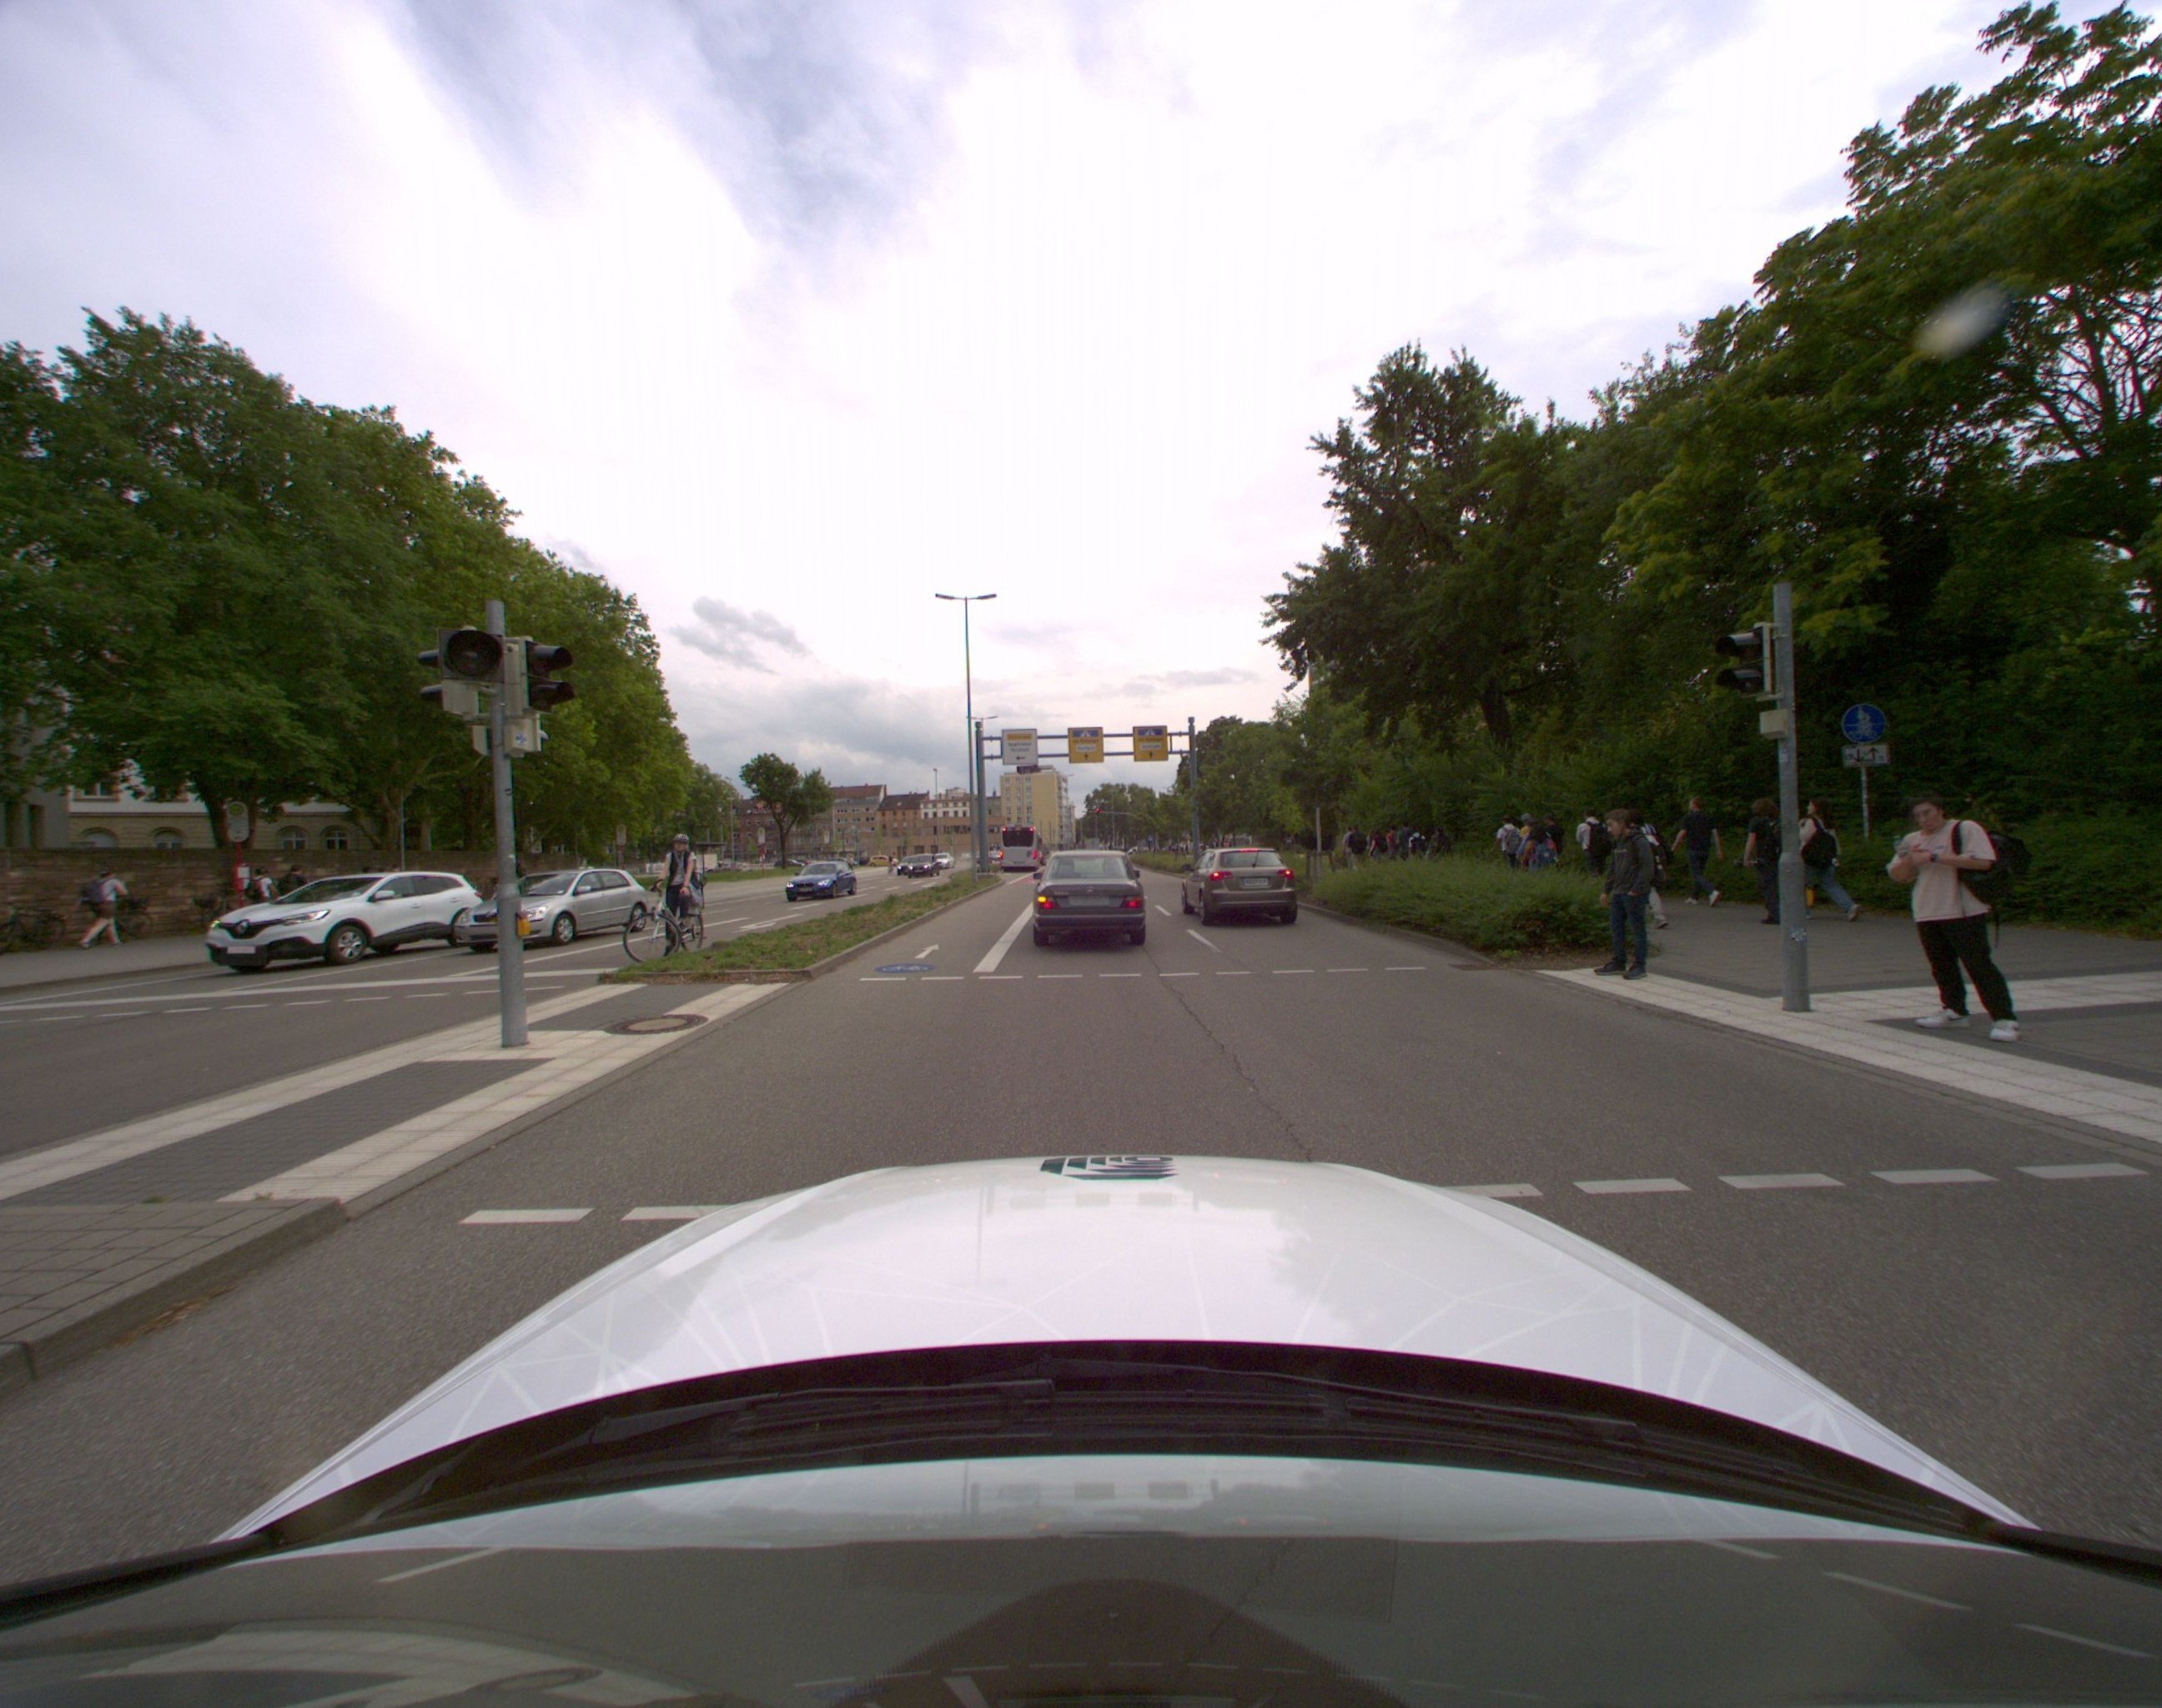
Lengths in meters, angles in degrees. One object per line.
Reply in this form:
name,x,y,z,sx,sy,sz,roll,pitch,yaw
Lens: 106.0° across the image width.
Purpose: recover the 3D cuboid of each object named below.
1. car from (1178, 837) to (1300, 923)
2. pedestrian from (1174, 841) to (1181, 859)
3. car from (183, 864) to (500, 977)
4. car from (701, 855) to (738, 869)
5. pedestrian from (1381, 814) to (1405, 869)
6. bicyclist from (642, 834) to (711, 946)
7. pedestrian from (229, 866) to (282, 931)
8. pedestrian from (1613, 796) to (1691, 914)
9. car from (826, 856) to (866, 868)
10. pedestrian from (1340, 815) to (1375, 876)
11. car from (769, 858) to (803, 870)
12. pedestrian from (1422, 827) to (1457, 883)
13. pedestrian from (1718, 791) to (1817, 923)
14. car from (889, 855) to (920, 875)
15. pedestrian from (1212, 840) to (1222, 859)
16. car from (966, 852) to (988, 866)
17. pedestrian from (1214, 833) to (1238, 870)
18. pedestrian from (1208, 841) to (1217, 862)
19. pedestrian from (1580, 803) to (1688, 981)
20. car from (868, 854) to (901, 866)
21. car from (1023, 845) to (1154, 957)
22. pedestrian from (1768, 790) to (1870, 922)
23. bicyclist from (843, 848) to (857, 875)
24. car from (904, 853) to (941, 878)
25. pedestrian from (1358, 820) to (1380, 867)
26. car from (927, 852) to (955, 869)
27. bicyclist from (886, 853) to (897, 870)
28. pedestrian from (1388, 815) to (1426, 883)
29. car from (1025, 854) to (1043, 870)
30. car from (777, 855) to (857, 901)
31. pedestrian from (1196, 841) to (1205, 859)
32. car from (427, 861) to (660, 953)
car,3.012,0.441,16.209,1.718,1.457,3.736,-2,0,1
pedestrian,10.488,-0.436,88.769,0.612,2.013,0.597,-2,0,-2
car,-13.390,1.088,15.227,1.859,1.652,4.421,-2,0,-1
car,-47.811,1.057,107.836,4.150,1.649,1.643,-3,0,-7
pedestrian,10.216,-0.414,26.694,0.483,1.763,0.664,-2,0,0
bicyclist,-5.905,0.510,11.915,0.569,1.574,0.700,-2,0,3
pedestrian,-22.245,1.191,21.966,0.763,1.671,0.915,-1,-1,-29
pedestrian,8.797,0.010,12.572,0.580,1.745,0.789,-2,0,-3
car,-30.121,1.047,104.450,4.663,1.475,1.657,-1,0,-6
pedestrian,8.553,-0.253,25.244,0.690,1.821,0.954,-2,0,0
car,-37.658,1.246,103.866,3.758,1.394,1.581,-1,0,-6
pedestrian,10.532,0.030,23.935,0.633,1.583,0.785,-2,0,0
pedestrian,9.491,0.035,11.283,0.655,1.745,0.779,-2,0,-3
car,-13.382,0.831,61.915,1.497,1.365,3.833,-2,0,1
pedestrian,10.569,-0.328,63.193,0.652,1.470,0.564,-2,0,16
car,-12.253,0.566,95.983,1.794,1.489,4.292,-2,0,3
pedestrian,7.304,-0.116,40.984,0.925,1.830,0.892,-2,0,27
pedestrian,10.938,-0.175,67.925,0.642,1.713,0.564,-2,0,14
pedestrian,5.653,0.373,8.360,0.600,1.735,0.654,-2,0,-3
car,-25.395,0.747,105.187,3.851,1.517,1.657,-1,0,-6
car,0.128,0.632,13.343,1.755,1.489,4.171,-2,0,0
pedestrian,10.224,0.022,11.310,0.655,1.745,0.779,-2,0,-3
bicyclist,-15.673,0.476,55.266,0.615,1.782,0.812,-2,0,4
car,-10.288,0.718,53.018,1.566,1.489,3.637,-3,0,1
pedestrian,10.164,-0.367,28.726,0.466,1.633,0.653,-2,0,0
car,-12.942,0.574,75.528,1.796,1.489,4.415,-2,0,0
bicyclist,-15.736,0.616,67.612,0.578,1.419,0.811,-2,0,2
pedestrian,9.054,-0.137,22.652,0.654,1.821,0.812,-2,0,0
car,-4.537,0.765,78.777,1.651,1.396,3.856,-2,1,-3
car,-10.148,0.862,31.642,1.796,1.511,4.102,-2,1,-1
pedestrian,11.511,-0.358,78.508,0.796,1.713,0.767,-2,0,12
car,-10.621,0.961,16.567,1.795,1.489,4.289,-2,0,1
